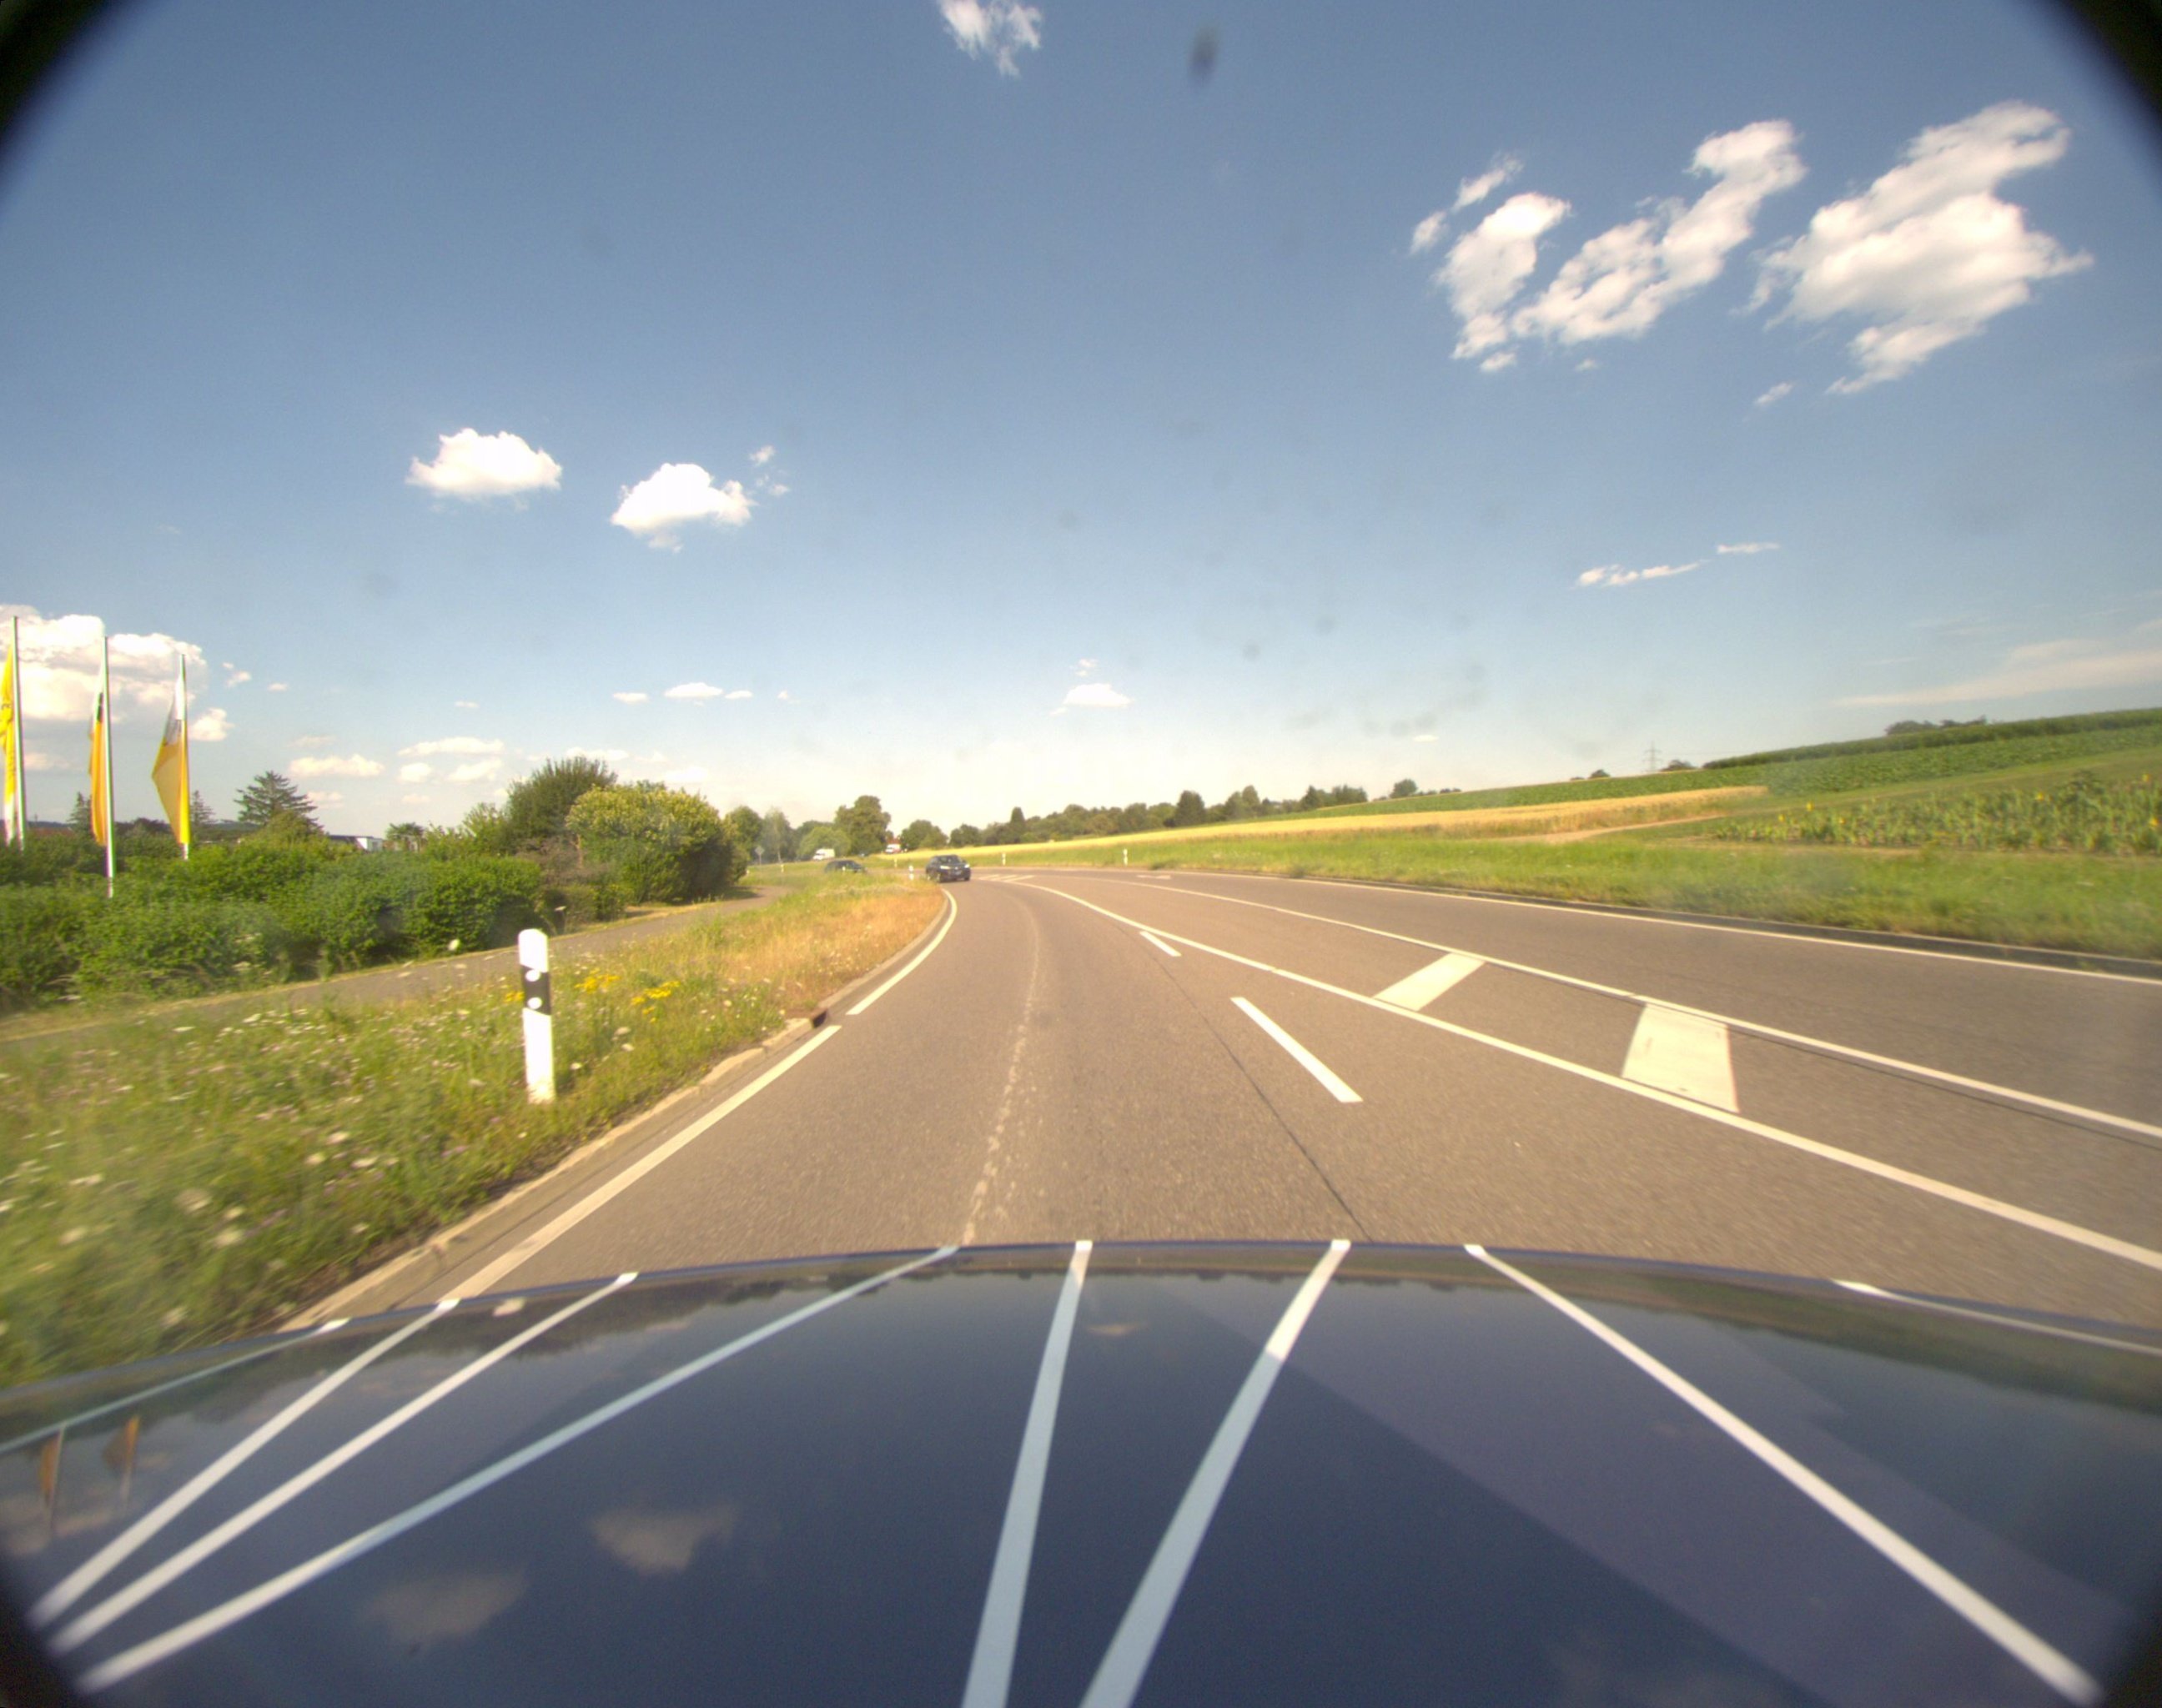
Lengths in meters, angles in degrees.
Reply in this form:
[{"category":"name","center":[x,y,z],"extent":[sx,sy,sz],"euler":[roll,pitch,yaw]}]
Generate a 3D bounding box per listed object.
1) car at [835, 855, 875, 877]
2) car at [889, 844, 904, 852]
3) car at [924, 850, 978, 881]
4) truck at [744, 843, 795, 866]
[{"category":"car","center":[-18.035,0.939,60.462],"extent":[1.778,1.604,4.537],"euler":[-5,2,-32]},{"category":"car","center":[-50.834,-1.650,209.608],"extent":[1.998,2.001,4.004],"euler":[-13,-2,14]},{"category":"car","center":[-7.859,0.664,45.549],"extent":[1.791,1.620,4.459],"euler":[-5,2,-28]},{"category":"truck","center":[-62.155,-0.007,151.908],"extent":[2.527,3.753,12.902],"euler":[-6,2,10]}]
